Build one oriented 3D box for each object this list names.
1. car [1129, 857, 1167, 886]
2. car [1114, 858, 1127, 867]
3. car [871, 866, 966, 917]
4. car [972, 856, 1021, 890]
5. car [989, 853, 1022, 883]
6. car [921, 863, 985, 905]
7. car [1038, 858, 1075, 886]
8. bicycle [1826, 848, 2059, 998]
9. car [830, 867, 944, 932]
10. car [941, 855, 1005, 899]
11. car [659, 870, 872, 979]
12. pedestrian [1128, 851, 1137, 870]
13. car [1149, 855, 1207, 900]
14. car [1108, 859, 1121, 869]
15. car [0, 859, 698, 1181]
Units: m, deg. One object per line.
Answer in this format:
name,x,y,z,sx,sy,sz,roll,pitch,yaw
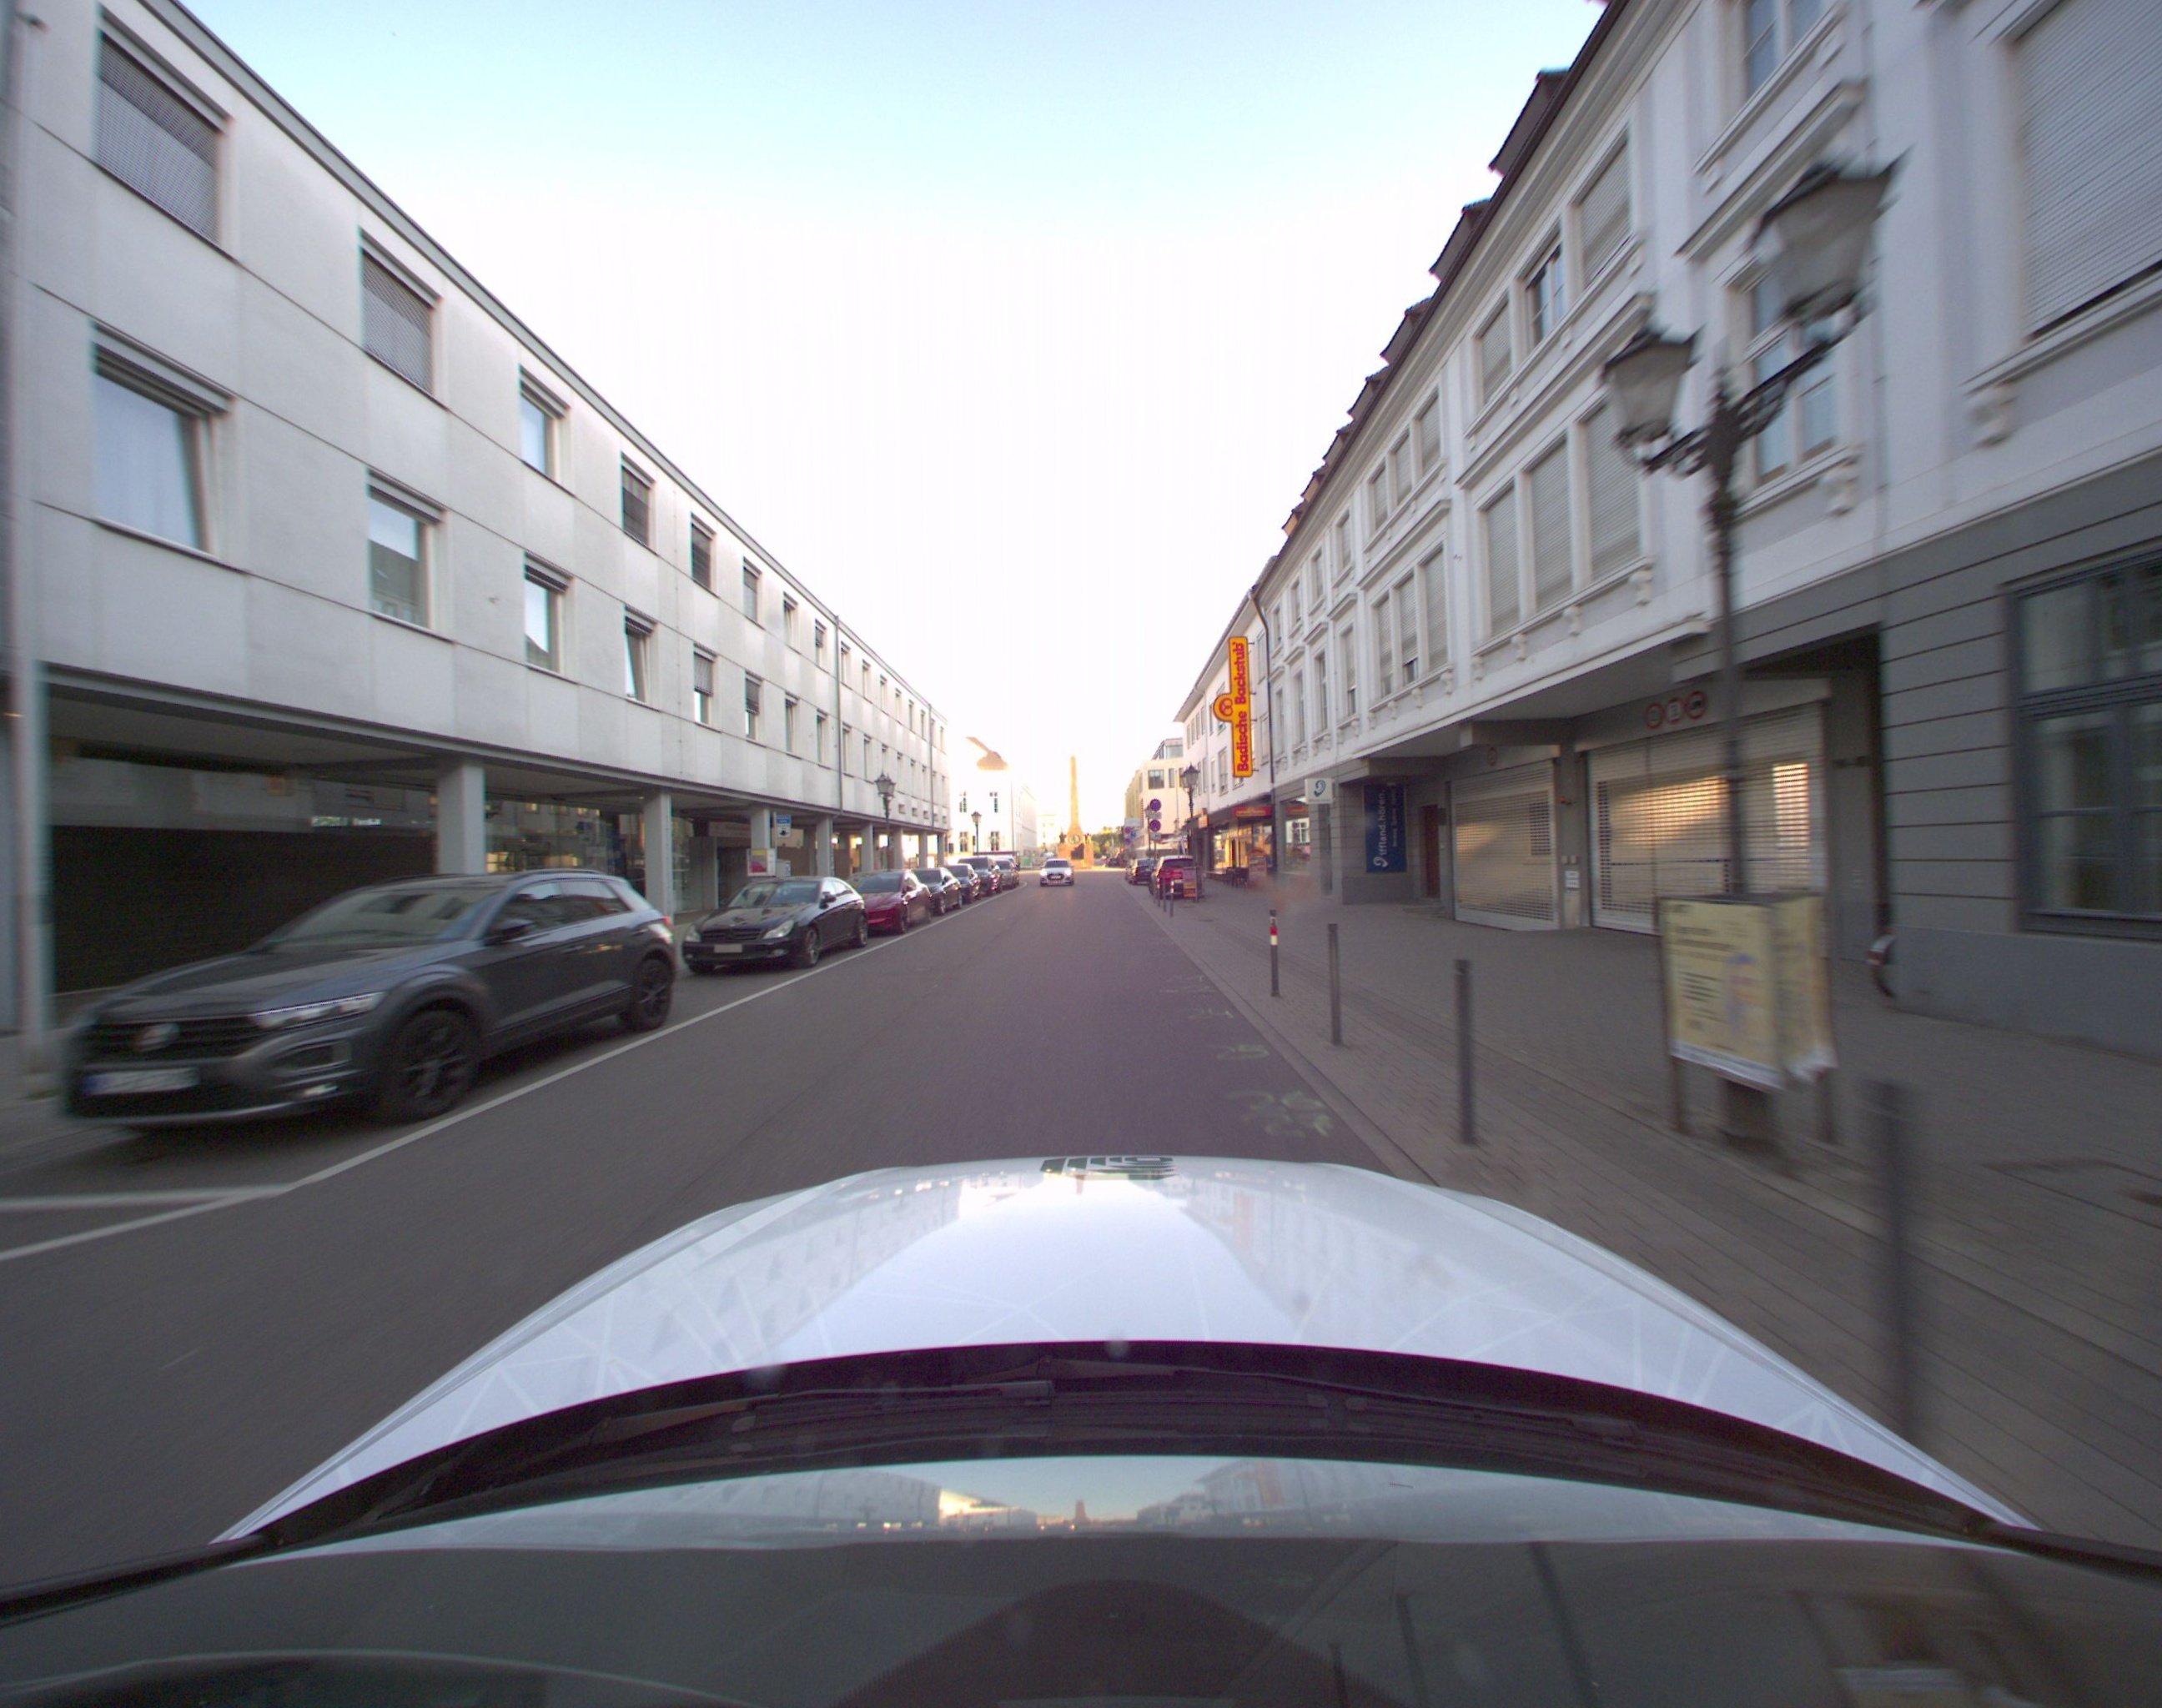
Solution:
car,3.563,0.899,44.152,1.795,1.464,4.118,-2,0,1
car,6.507,1.388,134.274,1.986,1.464,4.002,-2,0,2
car,-4.875,1.082,25.052,1.986,1.354,4.001,-2,0,1
car,-4.379,0.964,42.776,1.986,1.662,4.001,-2,0,1
car,-4.869,0.874,52.105,1.991,1.816,4.773,-1,0,-6
car,-4.736,1.077,30.611,1.668,1.400,4.000,-3,0,0
car,-1.316,0.946,45.254,1.757,1.422,4.001,-2,0,1
bicycle,7.753,0.600,7.353,1.652,1.252,0.439,-2,0,-2
car,-4.864,1.093,20.977,1.778,1.408,4.090,-2,0,2
car,-4.656,0.953,35.809,1.986,1.728,4.517,-3,0,1
car,-4.973,1.028,13.512,1.778,1.408,4.090,-2,0,2
pedestrian,4.643,0.593,73.094,0.688,1.647,0.695,-2,0,0
car,3.548,0.828,30.301,1.753,1.523,3.678,-2,0,1
car,5.175,1.480,125.814,1.986,1.464,4.002,-2,0,2
car,-4.940,0.886,6.338,1.778,1.615,4.167,-2,0,2
